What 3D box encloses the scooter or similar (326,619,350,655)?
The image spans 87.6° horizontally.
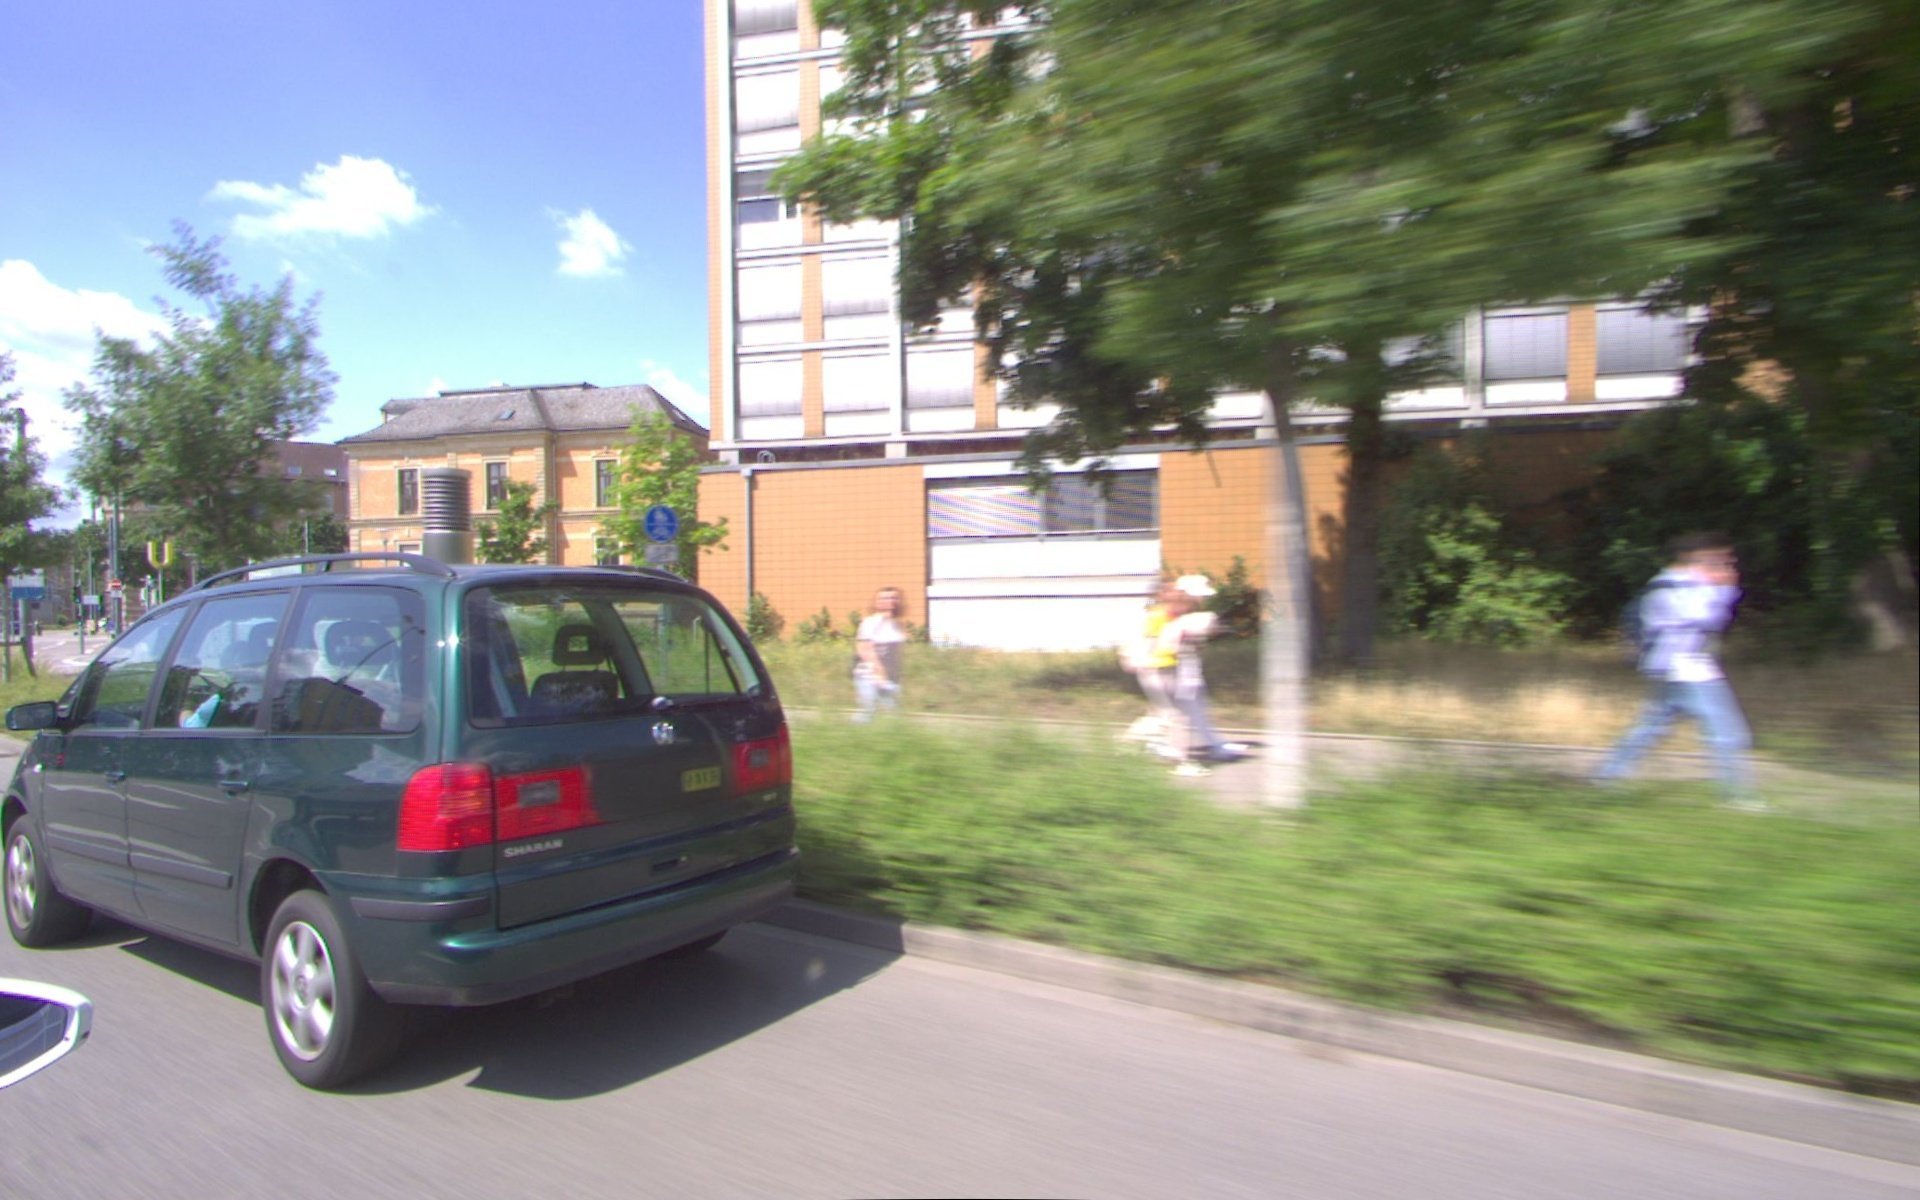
[{"bbox_3d":[-20.812,1.237,33.522,0.227,1.139,1.281,-1,1,-12],"label":"scooter or similar"}]

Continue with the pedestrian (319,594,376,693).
[{"bbox_3d":[-11.831,0.837,19.349,0.665,1.844,0.753,-2,-2,37],"label":"pedestrian"}]

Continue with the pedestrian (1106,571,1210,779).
[{"bbox_3d":[1.662,0.612,8.365,0.716,1.646,0.587,-1,-1,24],"label":"pedestrian"}]

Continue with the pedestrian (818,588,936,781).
[{"bbox_3d":[-0.754,0.743,9.128,0.765,1.648,0.647,-1,2,39],"label":"pedestrian"}]

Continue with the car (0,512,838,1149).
[{"bbox_3d":[-2.846,0.708,4.698,4.385,1.744,1.792,-1,-3,32],"label":"car"}]

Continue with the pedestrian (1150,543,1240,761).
[{"bbox_3d":[2.108,0.458,8.939,0.627,1.844,0.756,-1,-1,24],"label":"pedestrian"}]

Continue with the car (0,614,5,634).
[{"bbox_3d":[-81.537,2.035,83.691,1.863,1.663,3.931,0,0,-34],"label":"car"}]

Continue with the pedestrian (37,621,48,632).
[{"bbox_3d":[-82.114,2.388,89.668,0.519,0.918,1.551,0,-2,-35],"label":"pedestrian"}]

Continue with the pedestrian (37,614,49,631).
[{"bbox_3d":[-82.204,2.006,89.738,0.685,1.476,0.675,0,-2,-35],"label":"pedestrian"}]

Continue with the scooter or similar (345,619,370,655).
[{"bbox_3d":[-19.900,1.212,33.108,0.227,1.139,1.450,-1,1,-12],"label":"scooter or similar"}]

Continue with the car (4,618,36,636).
[{"bbox_3d":[-88.948,2.500,94.757,1.865,1.663,3.925,0,0,-39],"label":"car"}]

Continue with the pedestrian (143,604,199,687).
[{"bbox_3d":[-15.790,0.907,20.045,0.752,1.610,0.753,-2,-2,39],"label":"pedestrian"}]

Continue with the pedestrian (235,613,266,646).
[{"bbox_3d":[-38.158,1.563,53.853,0.847,1.679,0.966,-3,1,7],"label":"pedestrian"}]

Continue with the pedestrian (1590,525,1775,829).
[{"bbox_3d":[4.662,0.462,6.523,0.766,1.846,0.756,-1,3,18],"label":"pedestrian"}]

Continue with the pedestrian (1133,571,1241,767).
[{"bbox_3d":[2.012,0.591,8.872,0.718,1.648,0.585,-2,2,34],"label":"pedestrian"}]
